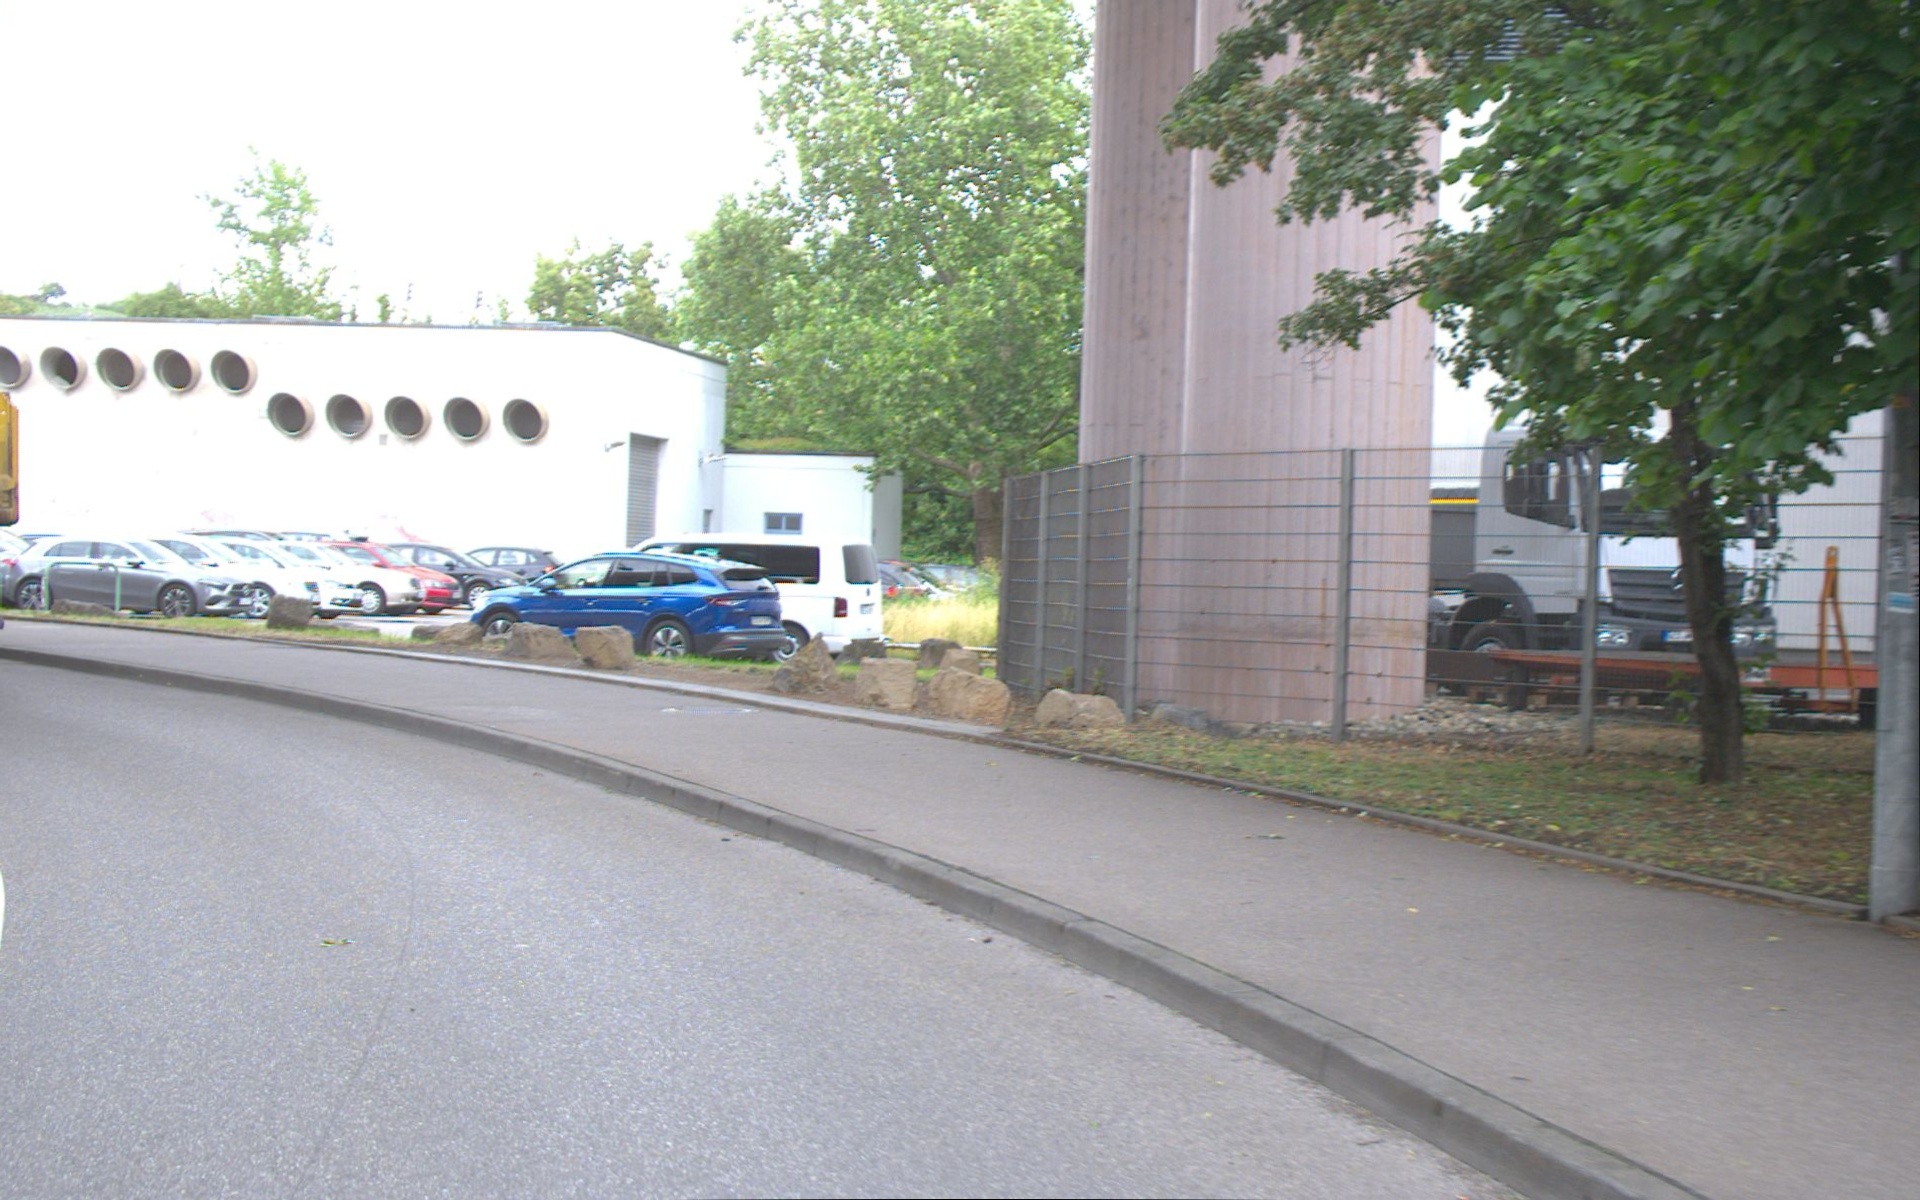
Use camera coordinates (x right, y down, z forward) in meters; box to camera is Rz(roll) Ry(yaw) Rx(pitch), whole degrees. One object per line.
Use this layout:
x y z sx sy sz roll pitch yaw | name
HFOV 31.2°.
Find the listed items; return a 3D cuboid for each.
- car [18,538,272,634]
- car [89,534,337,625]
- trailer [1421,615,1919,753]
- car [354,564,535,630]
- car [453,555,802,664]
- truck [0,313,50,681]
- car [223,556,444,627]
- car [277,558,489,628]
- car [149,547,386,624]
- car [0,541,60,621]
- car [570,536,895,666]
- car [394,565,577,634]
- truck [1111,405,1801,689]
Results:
-14.358 -0.243 60.636 3.989 1.634 1.689 0 -1 10 | car
-13.732 -0.370 63.328 3.988 1.634 1.999 0 -1 10 | car
5.372 0.579 26.290 2.148 0.741 6.295 -2 1 -7 | trailer
-11.645 -0.063 77.704 3.702 1.437 1.634 0 -1 11 | car
-4.620 0.149 47.668 4.451 1.437 1.997 0 -1 29 | car
-12.157 -1.054 35.294 2.927 3.469 8.245 -2 3 -33 | truck
-12.846 -0.175 70.590 3.989 1.402 1.999 0 -1 11 | car
-12.234 -0.150 72.981 3.989 1.437 1.999 0 -1 11 | car
-13.319 -0.276 66.226 3.989 1.437 1.999 0 -1 11 | car
-19.169 -0.346 64.397 3.989 1.437 1.999 0 -1 11 | car
-3.329 0.033 50.436 4.319 1.851 1.998 0 -1 21 | car
-11.401 -0.030 82.698 3.989 1.541 1.855 1 2 12 | car
4.749 -0.479 34.494 2.716 2.543 7.230 1 0 -33 | truck
